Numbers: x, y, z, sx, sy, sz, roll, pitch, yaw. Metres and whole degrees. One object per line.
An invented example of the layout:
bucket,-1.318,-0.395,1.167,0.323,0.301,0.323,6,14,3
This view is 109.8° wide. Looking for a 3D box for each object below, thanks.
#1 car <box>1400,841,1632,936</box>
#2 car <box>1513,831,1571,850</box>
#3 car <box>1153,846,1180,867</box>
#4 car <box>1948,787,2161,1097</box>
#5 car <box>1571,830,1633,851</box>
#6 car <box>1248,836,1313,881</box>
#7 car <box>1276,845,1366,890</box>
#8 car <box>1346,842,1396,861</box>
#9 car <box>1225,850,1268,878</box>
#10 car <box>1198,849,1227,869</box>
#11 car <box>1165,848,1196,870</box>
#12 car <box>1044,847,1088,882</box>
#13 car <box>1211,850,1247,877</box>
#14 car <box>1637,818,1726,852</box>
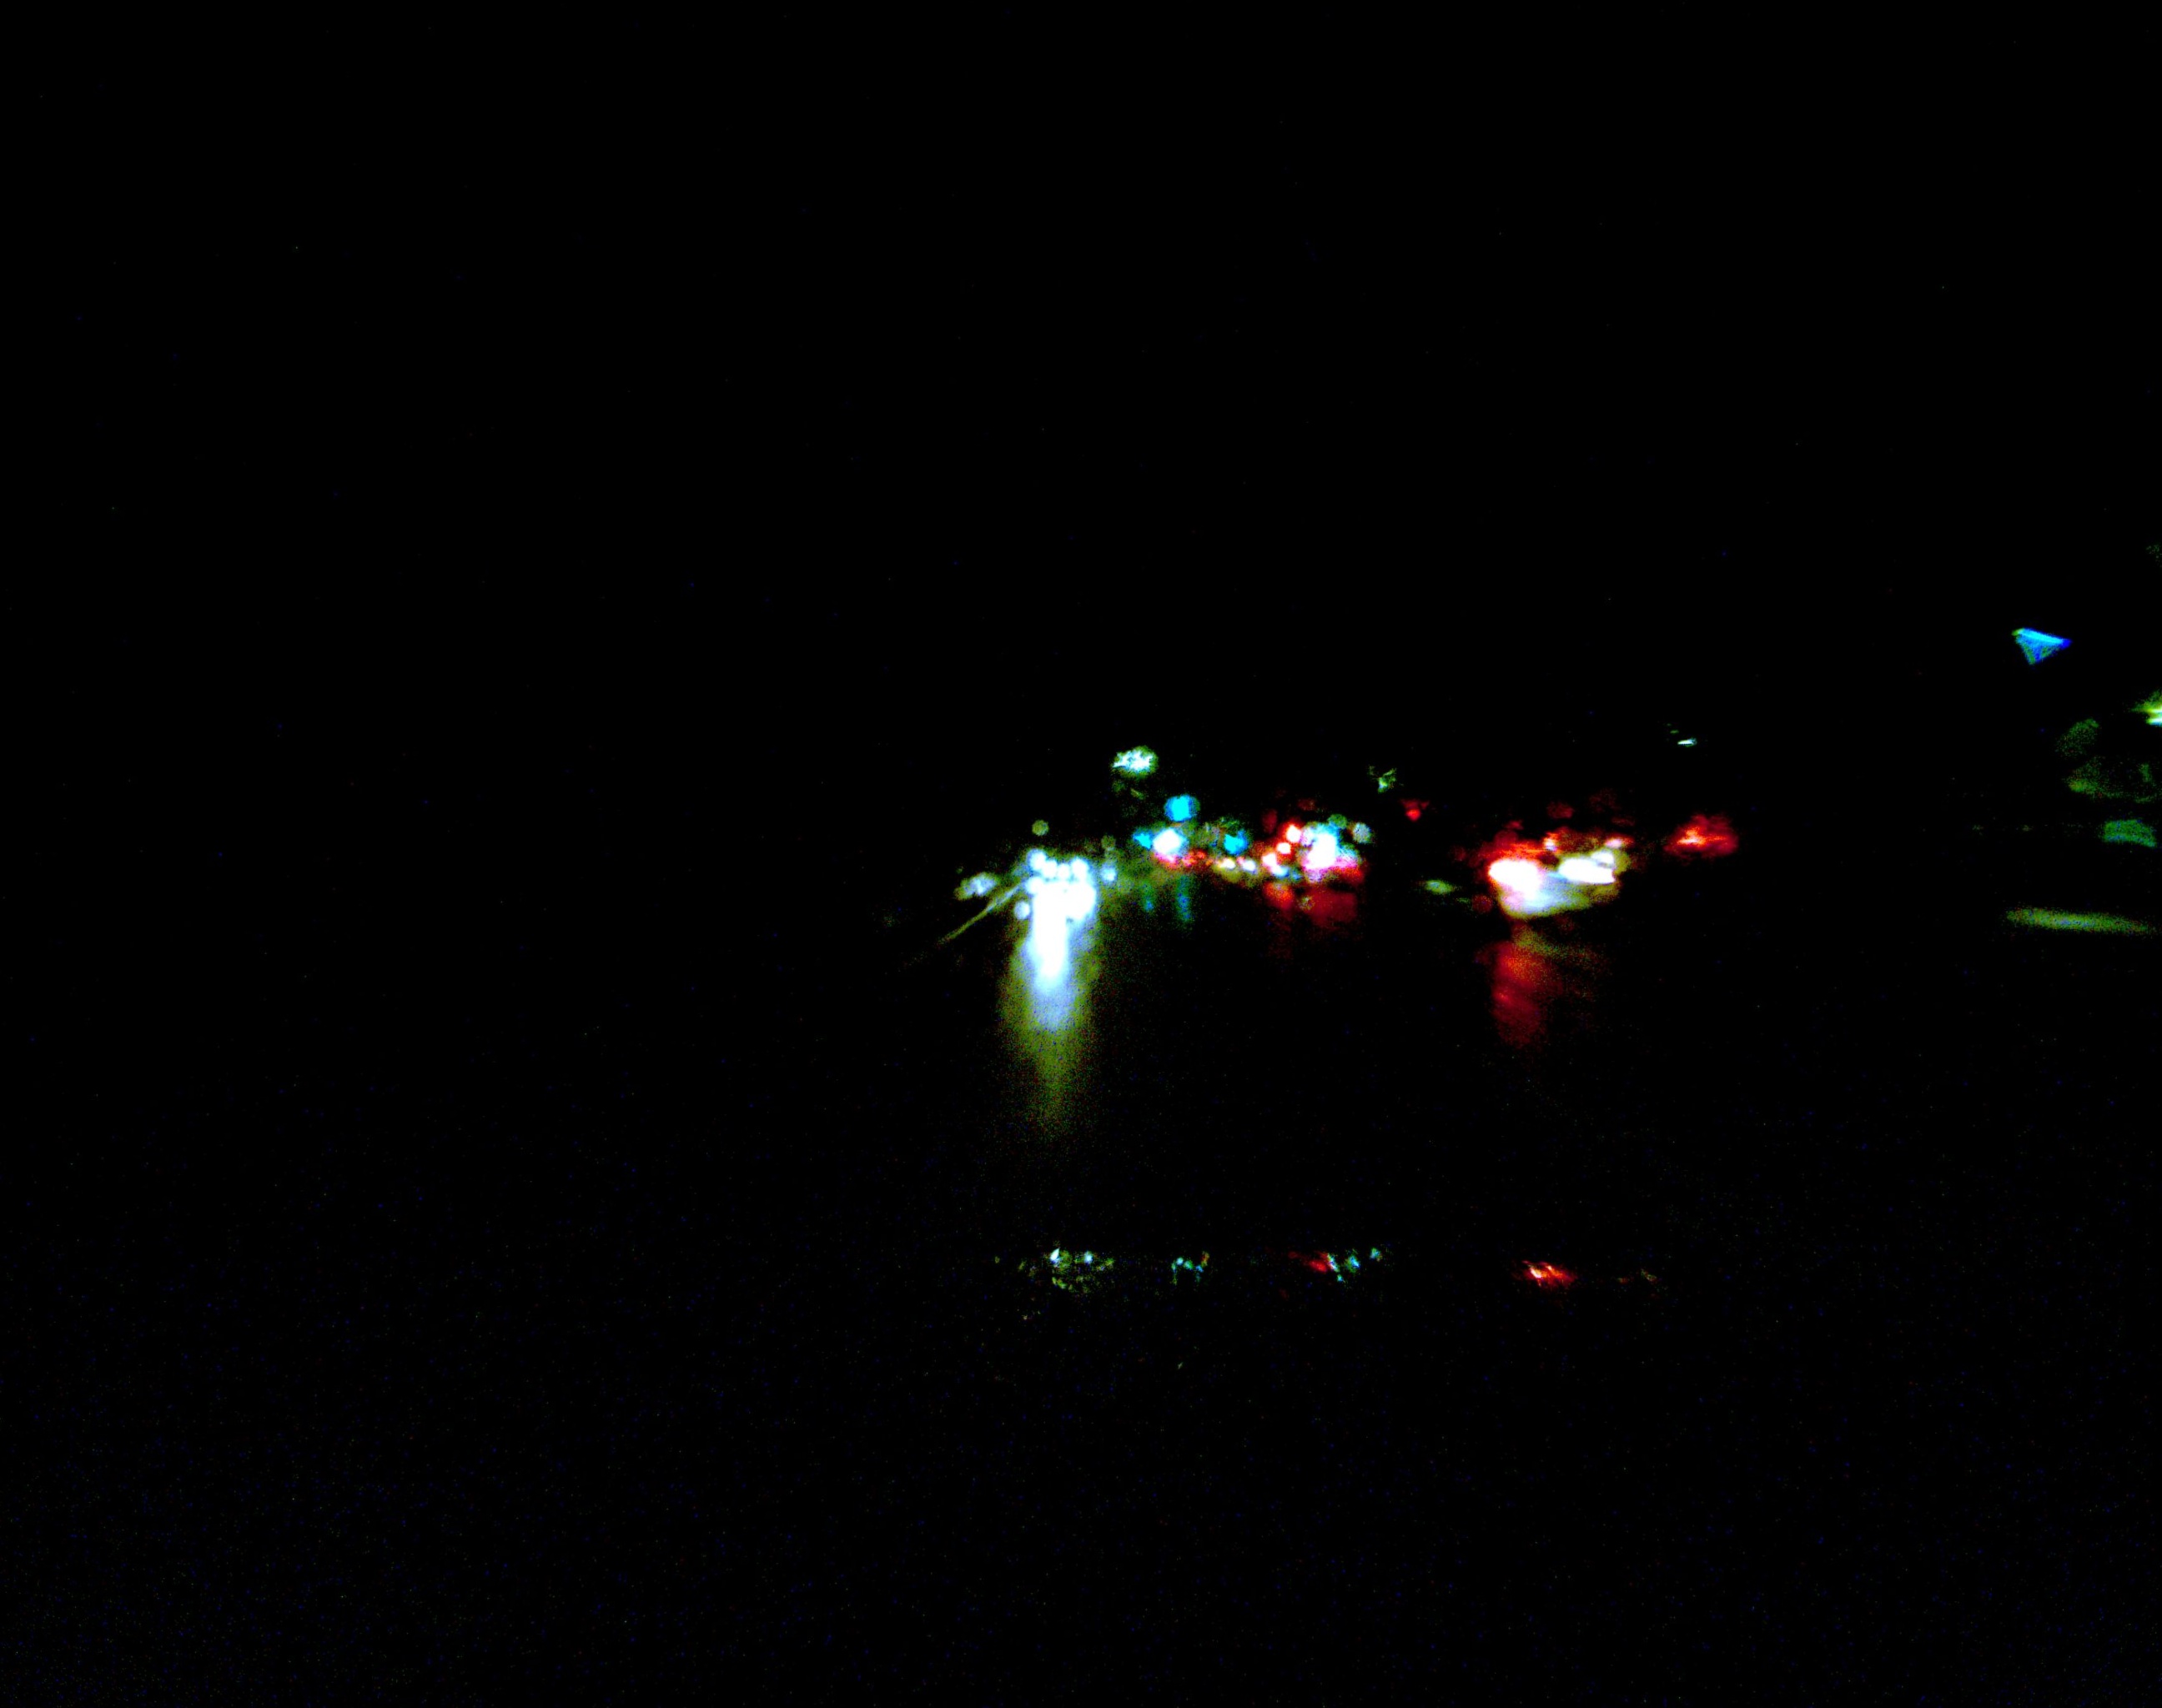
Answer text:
car,8.160,0.560,14.919,2.088,1.533,4.900,-1,0,5
car,41.438,-1.212,68.410,2.003,1.582,3.991,-2,0,-27
car,7.866,0.194,70.104,1.998,1.688,5.012,-2,1,2
car,7.313,0.512,3.012,1.998,1.854,5.321,-1,0,5
car,43.081,-1.080,62.925,1.851,1.683,4.446,-2,0,-5
car,9.684,0.210,37.317,2.158,2.002,4.996,-2,0,4
car,9.023,0.466,29.041,2.186,1.549,5.206,-1,0,5
car,28.478,-0.211,74.709,4.513,1.833,2.003,0,0,23
car,9.637,0.570,44.406,1.970,1.520,3.689,-2,0,5
car,10.536,0.358,61.055,1.827,1.444,3.602,-2,1,3
car,7.872,0.362,60.273,1.961,1.562,4.466,-2,1,2
car,-0.711,0.485,39.094,1.878,1.579,4.889,-2,1,3
car,10.267,0.597,53.055,1.998,1.736,4.500,-2,0,5
car,43.294,-1.339,55.034,1.998,2.294,6.023,-2,0,4
